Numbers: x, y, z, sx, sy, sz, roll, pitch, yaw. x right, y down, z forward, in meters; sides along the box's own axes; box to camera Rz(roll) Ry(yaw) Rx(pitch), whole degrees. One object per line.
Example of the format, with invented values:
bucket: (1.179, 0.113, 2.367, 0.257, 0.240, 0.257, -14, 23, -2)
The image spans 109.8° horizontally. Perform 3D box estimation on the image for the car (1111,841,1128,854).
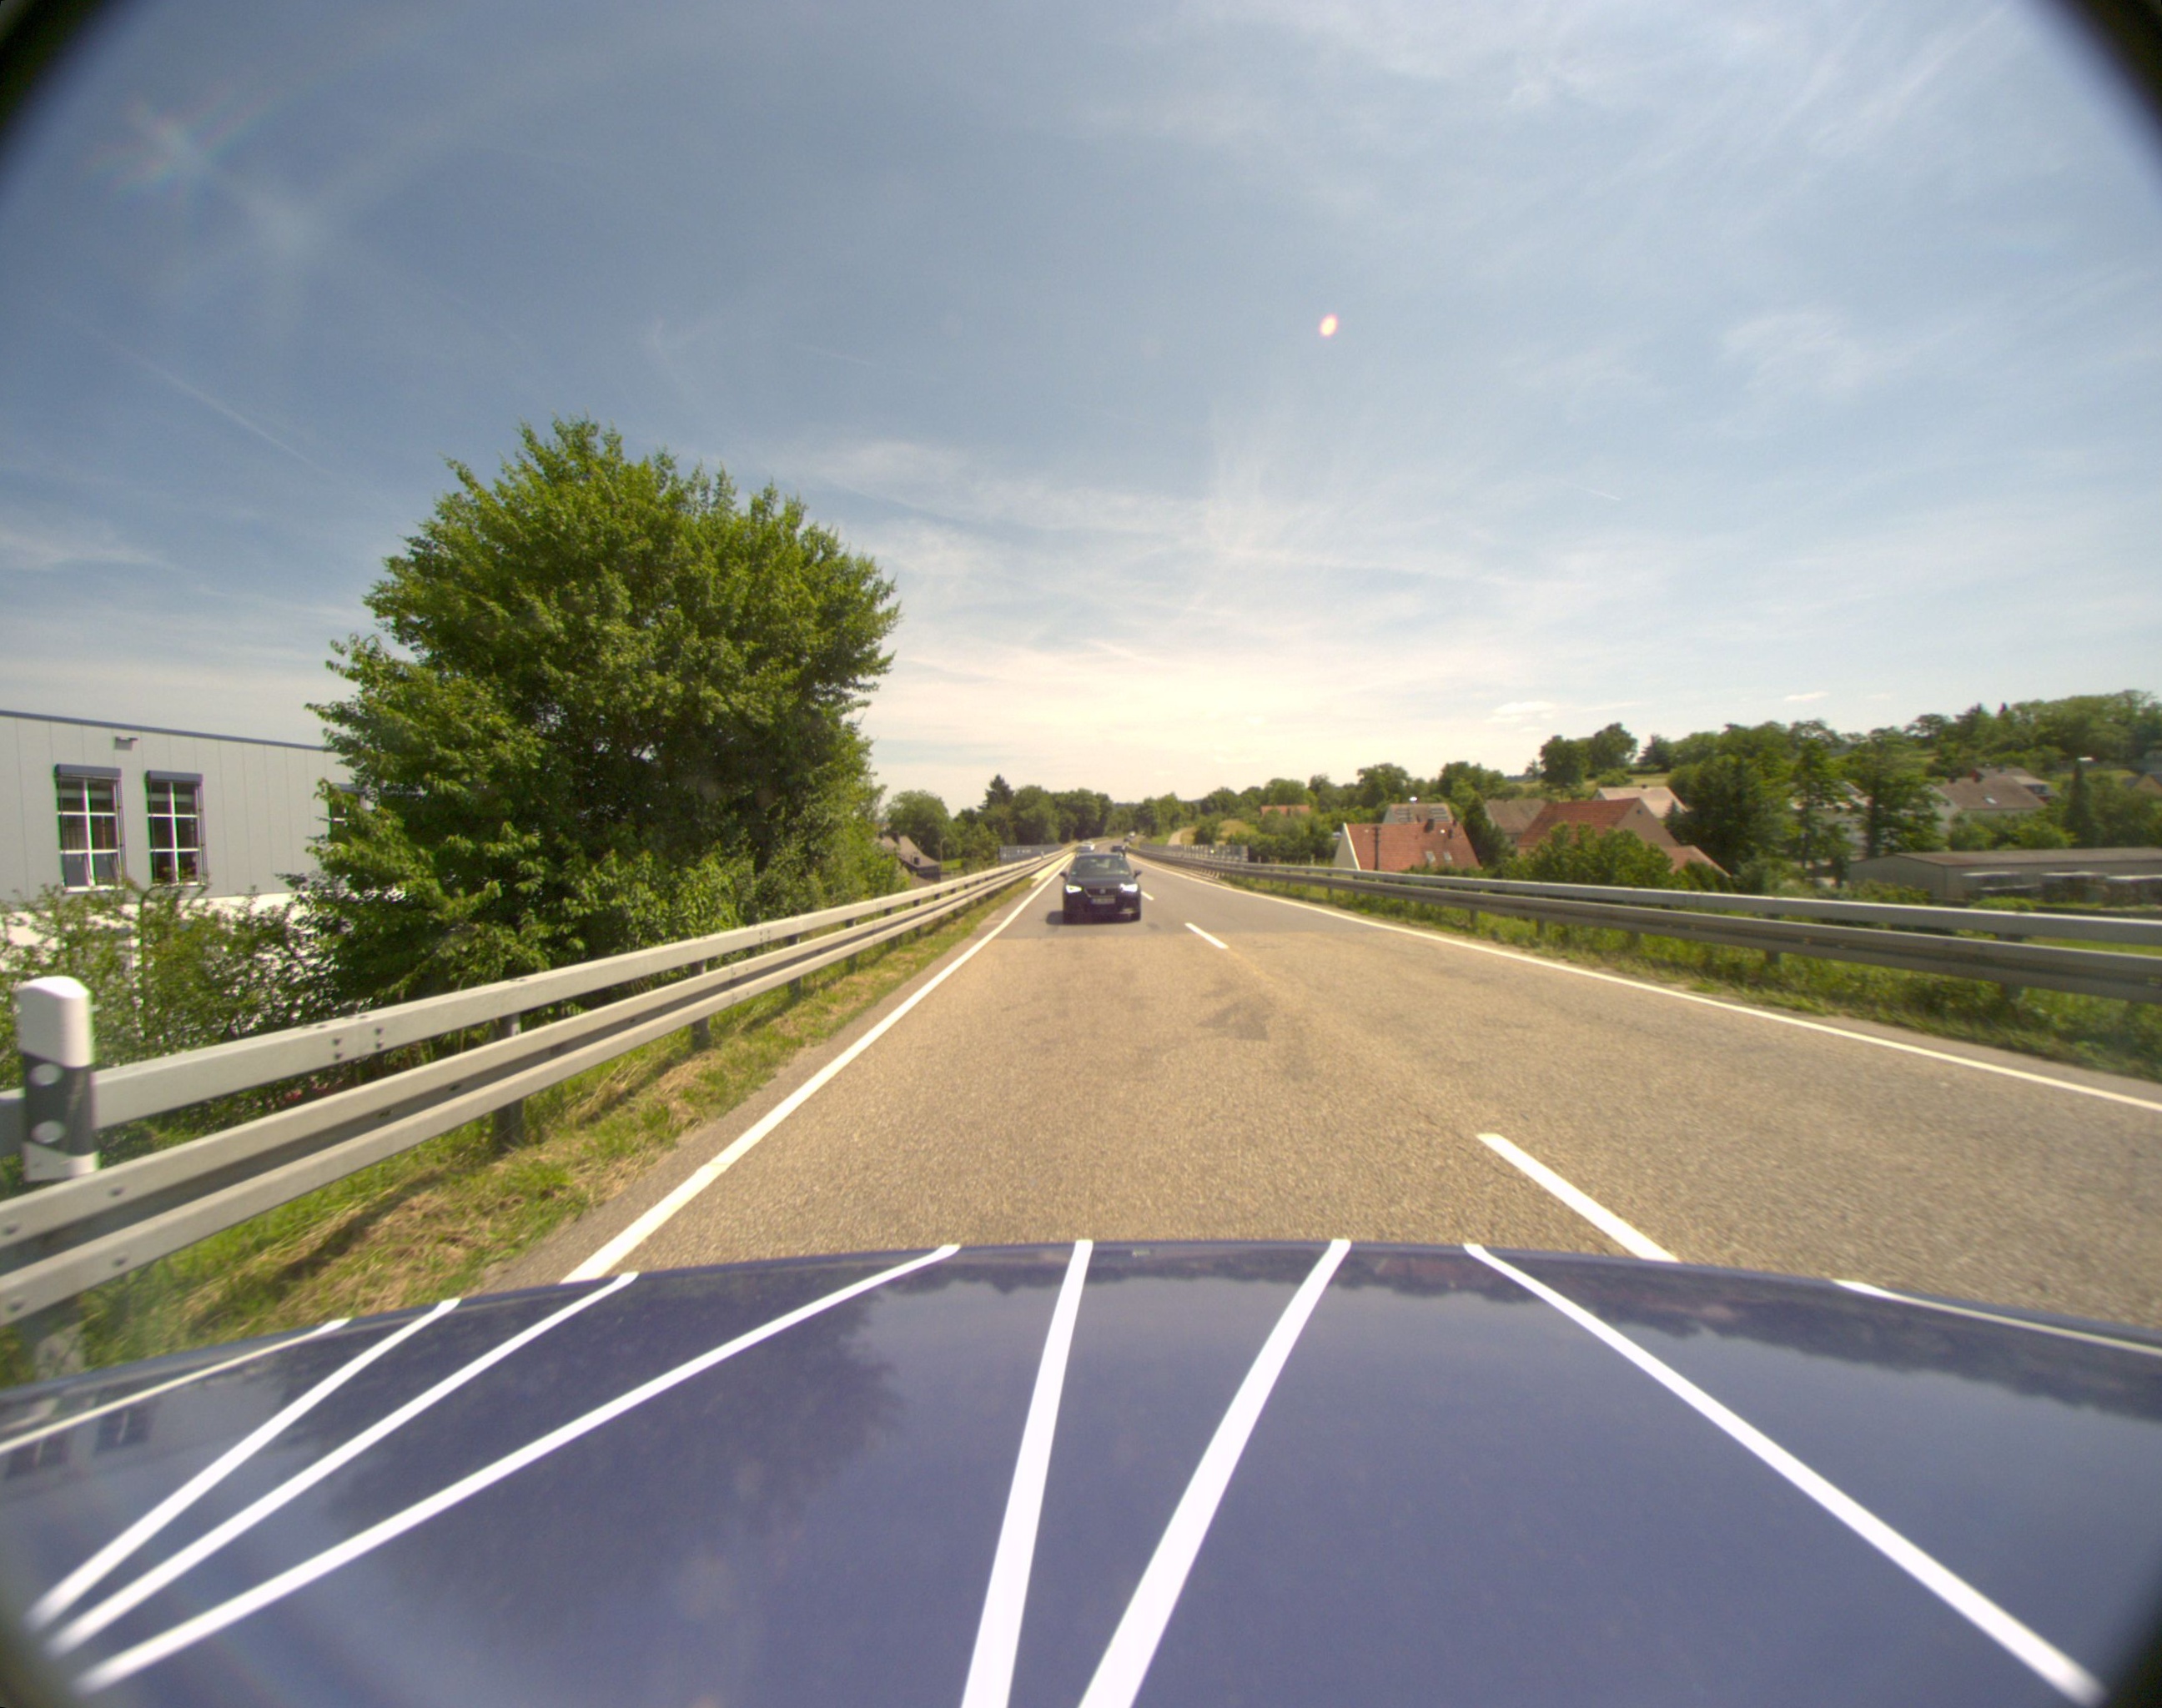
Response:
car: (4.804, -0.802, 95.266, 1.870, 1.602, 4.371, -1, 1, -1)

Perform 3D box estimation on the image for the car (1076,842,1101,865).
car: (0.643, 0.023, 61.224, 1.879, 1.637, 4.002, 0, -3, 2)

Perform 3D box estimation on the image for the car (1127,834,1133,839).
car: (13.976, -5.109, 216.603, 1.785, 1.428, 4.834, 1, 2, 4)

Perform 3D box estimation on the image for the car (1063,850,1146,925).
car: (0.498, 0.701, 18.072, 1.738, 1.468, 3.998, -1, 2, 0)
